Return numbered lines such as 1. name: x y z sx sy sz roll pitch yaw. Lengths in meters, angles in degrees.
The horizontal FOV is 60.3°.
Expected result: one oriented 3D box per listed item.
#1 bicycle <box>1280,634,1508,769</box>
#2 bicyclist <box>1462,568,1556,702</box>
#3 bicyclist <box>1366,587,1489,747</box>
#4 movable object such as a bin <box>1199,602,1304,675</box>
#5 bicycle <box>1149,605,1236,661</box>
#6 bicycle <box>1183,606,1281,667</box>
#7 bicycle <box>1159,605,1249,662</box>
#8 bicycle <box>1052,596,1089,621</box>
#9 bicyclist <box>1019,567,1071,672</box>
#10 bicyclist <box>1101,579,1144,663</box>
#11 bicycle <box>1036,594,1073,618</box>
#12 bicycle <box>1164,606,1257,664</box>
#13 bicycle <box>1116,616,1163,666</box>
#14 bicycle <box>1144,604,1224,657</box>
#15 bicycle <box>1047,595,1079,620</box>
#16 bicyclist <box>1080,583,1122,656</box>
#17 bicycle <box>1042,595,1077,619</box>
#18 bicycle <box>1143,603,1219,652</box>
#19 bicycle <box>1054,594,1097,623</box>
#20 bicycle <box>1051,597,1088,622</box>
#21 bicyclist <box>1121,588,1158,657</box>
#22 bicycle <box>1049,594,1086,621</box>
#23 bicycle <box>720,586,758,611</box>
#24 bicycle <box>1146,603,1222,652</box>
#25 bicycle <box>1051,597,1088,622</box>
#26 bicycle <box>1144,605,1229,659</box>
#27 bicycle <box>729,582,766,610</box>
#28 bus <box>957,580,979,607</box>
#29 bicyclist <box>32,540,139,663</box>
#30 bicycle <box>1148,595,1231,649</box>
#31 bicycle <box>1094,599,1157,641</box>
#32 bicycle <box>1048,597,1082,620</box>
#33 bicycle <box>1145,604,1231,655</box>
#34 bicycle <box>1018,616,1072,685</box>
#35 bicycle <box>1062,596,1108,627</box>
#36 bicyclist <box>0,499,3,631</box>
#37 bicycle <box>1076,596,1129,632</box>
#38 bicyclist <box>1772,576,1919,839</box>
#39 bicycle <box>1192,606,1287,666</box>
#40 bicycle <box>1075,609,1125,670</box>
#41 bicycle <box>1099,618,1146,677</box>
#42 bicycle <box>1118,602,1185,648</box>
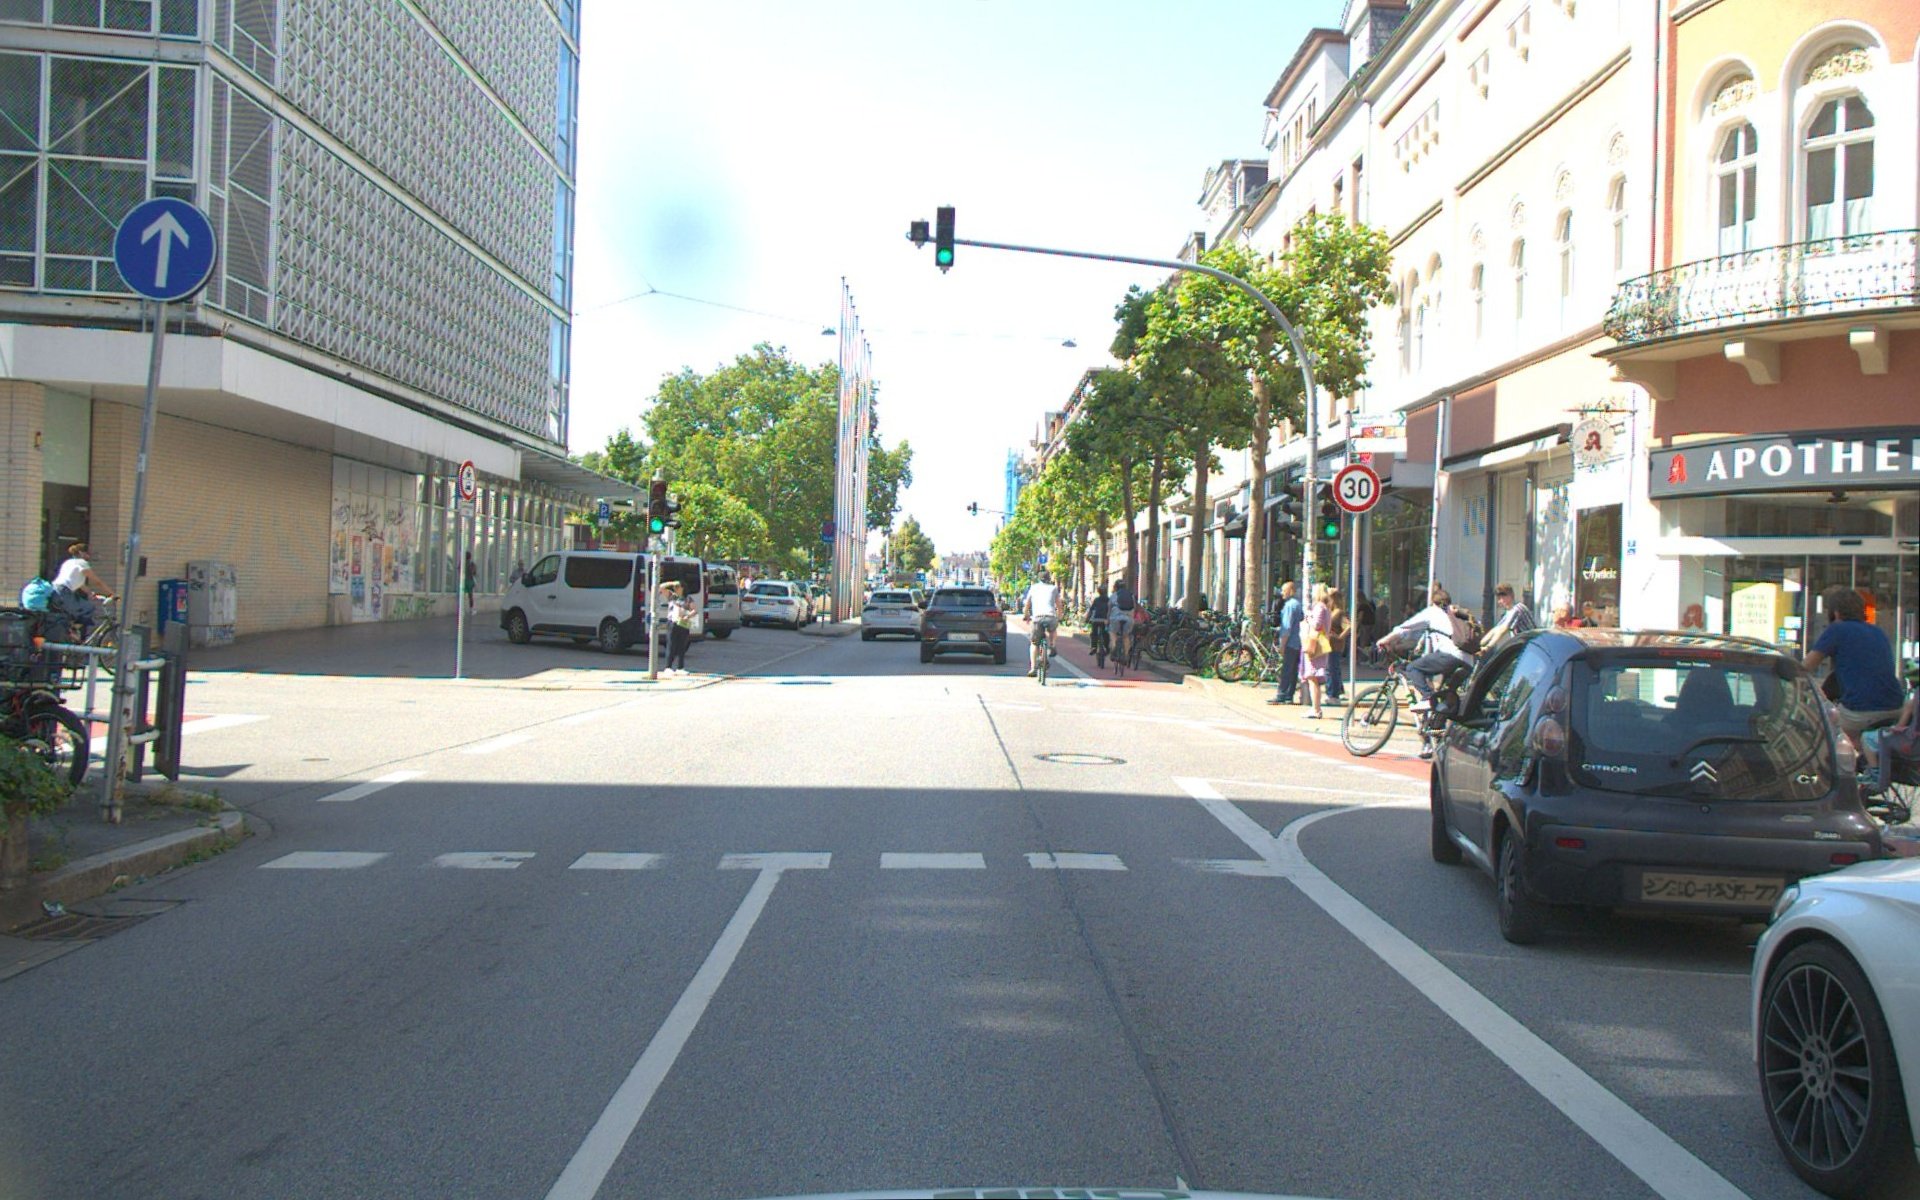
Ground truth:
1. bicycle: 4.299 0.973 16.453 2.038 1.146 0.699 3 0 33
2. bicyclist: 6.011 0.376 18.130 0.841 1.436 0.501 1 0 0
3. bicyclist: 4.595 0.643 16.268 0.941 1.471 0.699 3 0 32
4. movable object such as a bin: 5.417 0.708 30.764 1.812 1.209 0.653 4 0 15
5. bicycle: 5.031 0.713 35.836 1.802 1.146 0.667 1 -1 2
6. bicycle: 5.313 0.708 32.403 1.802 1.146 0.667 1 -1 2
7. bicycle: 5.156 0.699 35.025 1.802 1.146 0.667 1 -1 2
8. bicycle: 5.186 0.405 77.566 1.692 1.128 0.402 2 0 2
9. bicyclist: 1.382 0.306 27.029 0.758 1.664 0.851 1 0 0
10. bicyclist: 3.020 0.373 30.813 0.617 1.507 1.198 1 1 -1
11. bicycle: 5.178 0.319 90.846 1.904 1.279 0.701 2 0 -20
12. bicycle: 5.137 0.710 33.978 1.802 1.146 0.643 1 -1 2
13. bicycle: 3.676 0.837 33.981 0.588 0.942 2.086 2 0 -4
14. bicycle: 5.382 0.718 39.666 1.801 1.146 0.530 3 -1 12
15. bicycle: 5.276 0.364 84.708 1.615 1.222 0.474 2 0 2
16. bicyclist: 2.886 0.395 34.000 0.684 1.465 0.790 3 0 -4
17. bicycle: 5.204 0.361 86.433 1.805 1.222 0.609 2 0 2
18. bicycle: 5.462 0.678 40.927 1.801 1.147 0.448 1 -1 2
19. bicycle: 5.270 0.379 75.232 1.891 1.270 0.736 2 0 2
20. bicycle: 5.161 0.432 77.980 1.692 1.128 0.402 2 0 2
21. bicyclist: 3.687 0.450 33.976 0.588 1.381 0.720 2 0 -4
22. bicycle: 5.115 0.368 78.760 1.692 1.238 0.477 2 0 2
23. bicycle: -10.821 -0.081 80.956 1.746 1.124 0.562 2 0 -3
24. bicycle: 5.480 0.679 40.468 1.801 1.147 0.448 1 -1 2
25. bicycle: 5.195 0.448 78.399 1.692 1.128 0.477 2 0 2
26. bicycle: 4.999 0.712 36.531 1.802 1.147 0.530 1 -1 2
27. bicycle: -10.842 -0.200 84.437 1.746 1.331 0.662 2 0 -3
28. bus: 1.192 -0.903 243.767 2.934 3.657 11.742 2 0 -1
29. bicyclist: -11.473 0.001 21.720 0.723 1.566 1.070 1 1 42
30. bicycle: 5.196 0.485 37.537 1.801 1.146 0.680 2 0 5
31. bicycle: 5.123 0.621 51.278 1.806 1.146 0.496 4 1 -8
32. bicycle: 5.280 0.426 83.185 1.615 1.114 0.607 2 0 2
33. bicycle: 5.370 0.695 38.953 1.943 1.146 0.762 1 -1 13
34. bicycle: 1.374 0.799 27.049 0.758 1.023 2.329 1 0 0
35. bicycle: 5.147 0.470 68.133 1.801 1.206 0.670 3 0 5
36. bicyclist: -8.438 0.151 13.282 0.824 1.994 1.017 1 0 6
37. bicycle: 5.113 0.509 59.304 1.801 1.218 0.674 2 0 7
38. bicyclist: 6.053 0.699 11.146 0.718 1.703 0.772 1 0 -11
39. bicycle: 5.630 0.716 33.375 1.802 1.146 0.667 1 -1 2
40. bicycle: 2.866 0.795 34.010 0.684 1.146 2.080 3 0 -3
41. bicycle: 3.010 0.864 30.757 0.617 0.997 2.089 1 1 -1
42. bicycle: 5.013 0.654 43.255 1.825 1.147 0.586 2 -1 -37
